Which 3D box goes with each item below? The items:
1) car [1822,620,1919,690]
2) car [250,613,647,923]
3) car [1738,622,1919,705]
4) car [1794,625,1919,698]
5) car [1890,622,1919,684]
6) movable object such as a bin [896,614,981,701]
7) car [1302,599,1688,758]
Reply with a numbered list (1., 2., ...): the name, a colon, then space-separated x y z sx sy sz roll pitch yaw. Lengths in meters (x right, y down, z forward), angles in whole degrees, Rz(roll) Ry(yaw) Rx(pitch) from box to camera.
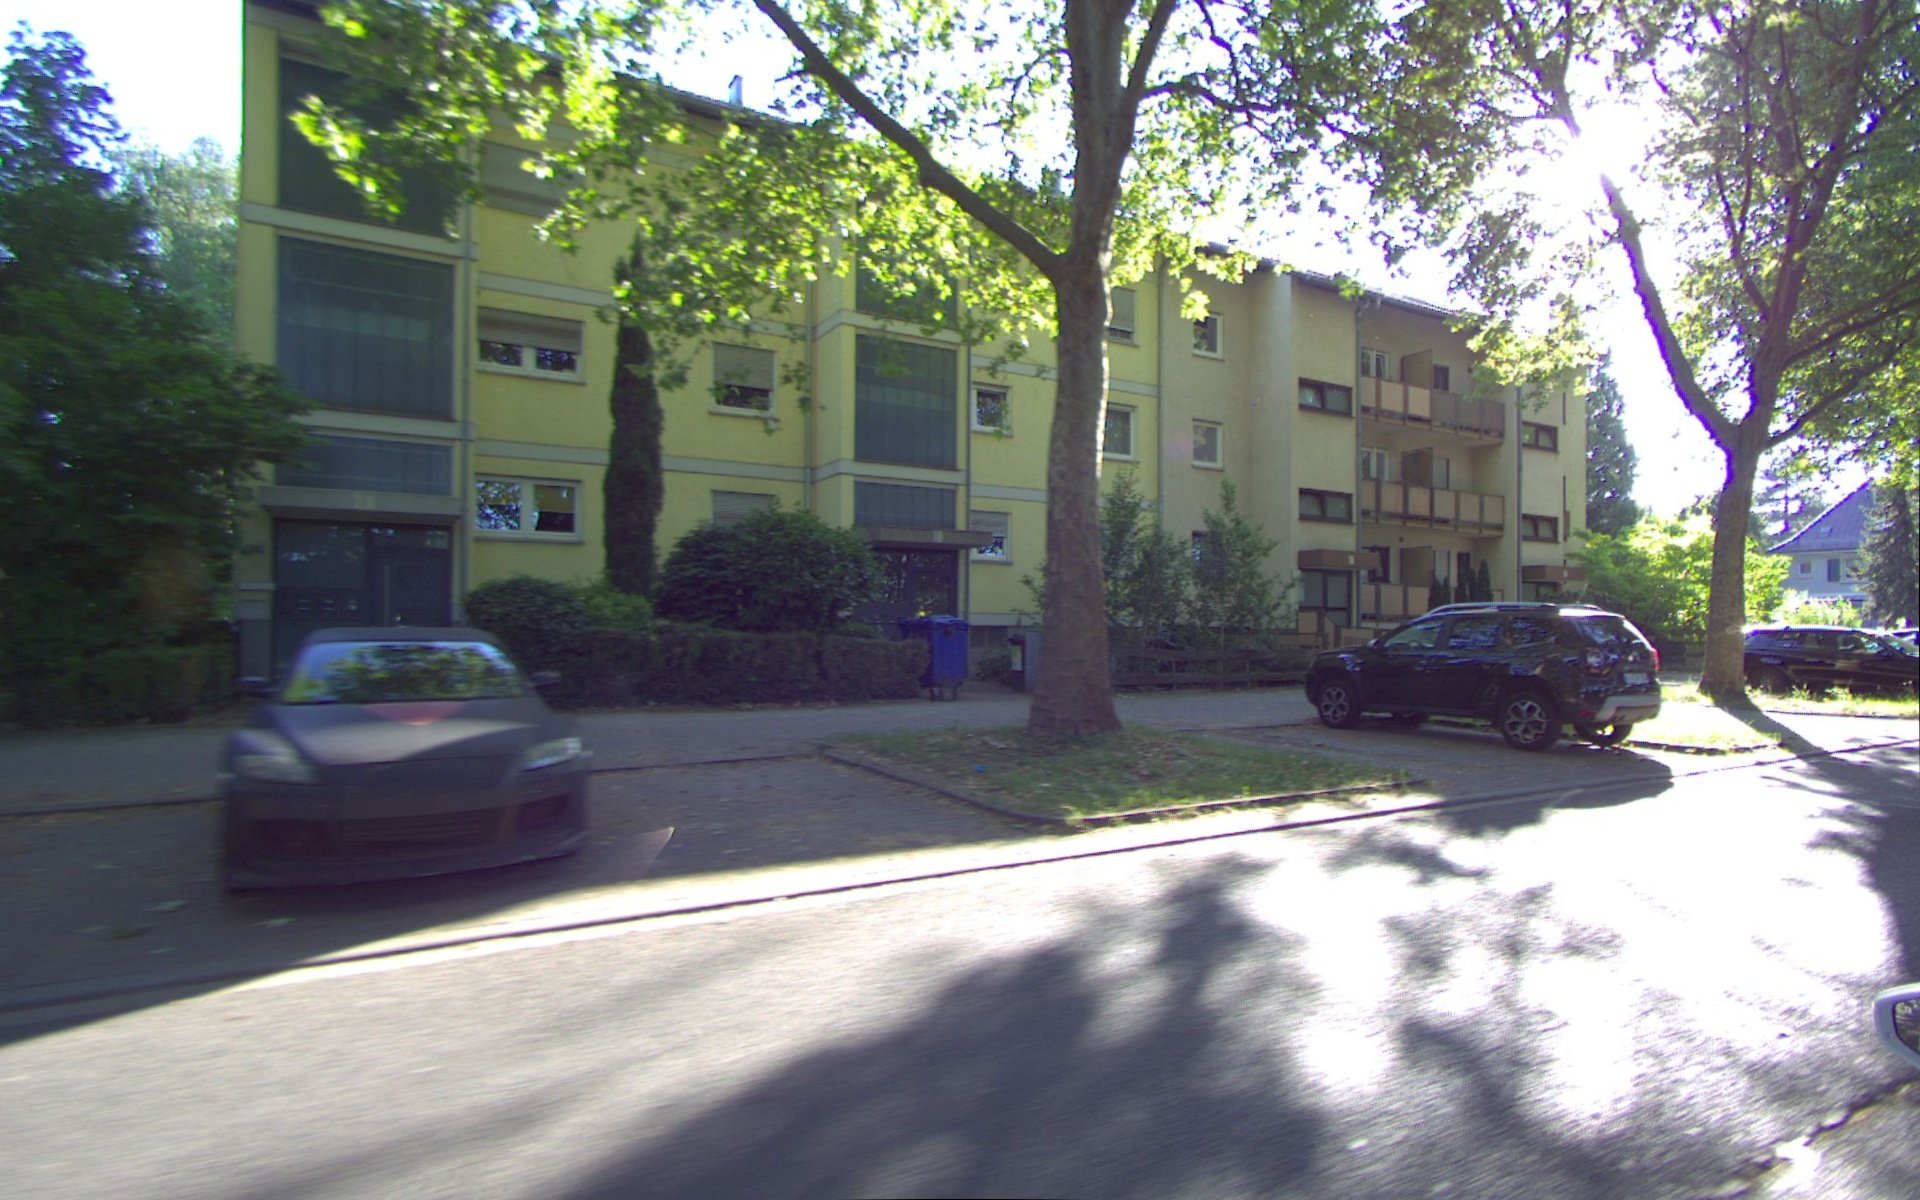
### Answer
1. car: 22.074 1.230 22.414 1.788 1.540 3.967 1 -1 -31
2. car: -3.504 0.815 6.720 1.722 1.370 4.218 1 -2 -31
3. car: 17.863 1.201 19.536 1.760 1.490 3.967 1 -1 -31
4. car: 20.024 1.259 20.765 1.790 1.443 3.963 1 -1 -34
5. car: 24.514 1.277 23.313 1.787 1.490 3.970 1 -1 -28
6. movable object such as a bin: -0.367 0.931 16.525 0.942 1.368 1.180 2 -2 -30
7. car: 6.679 0.883 13.050 1.651 1.702 4.224 1 -1 -30
